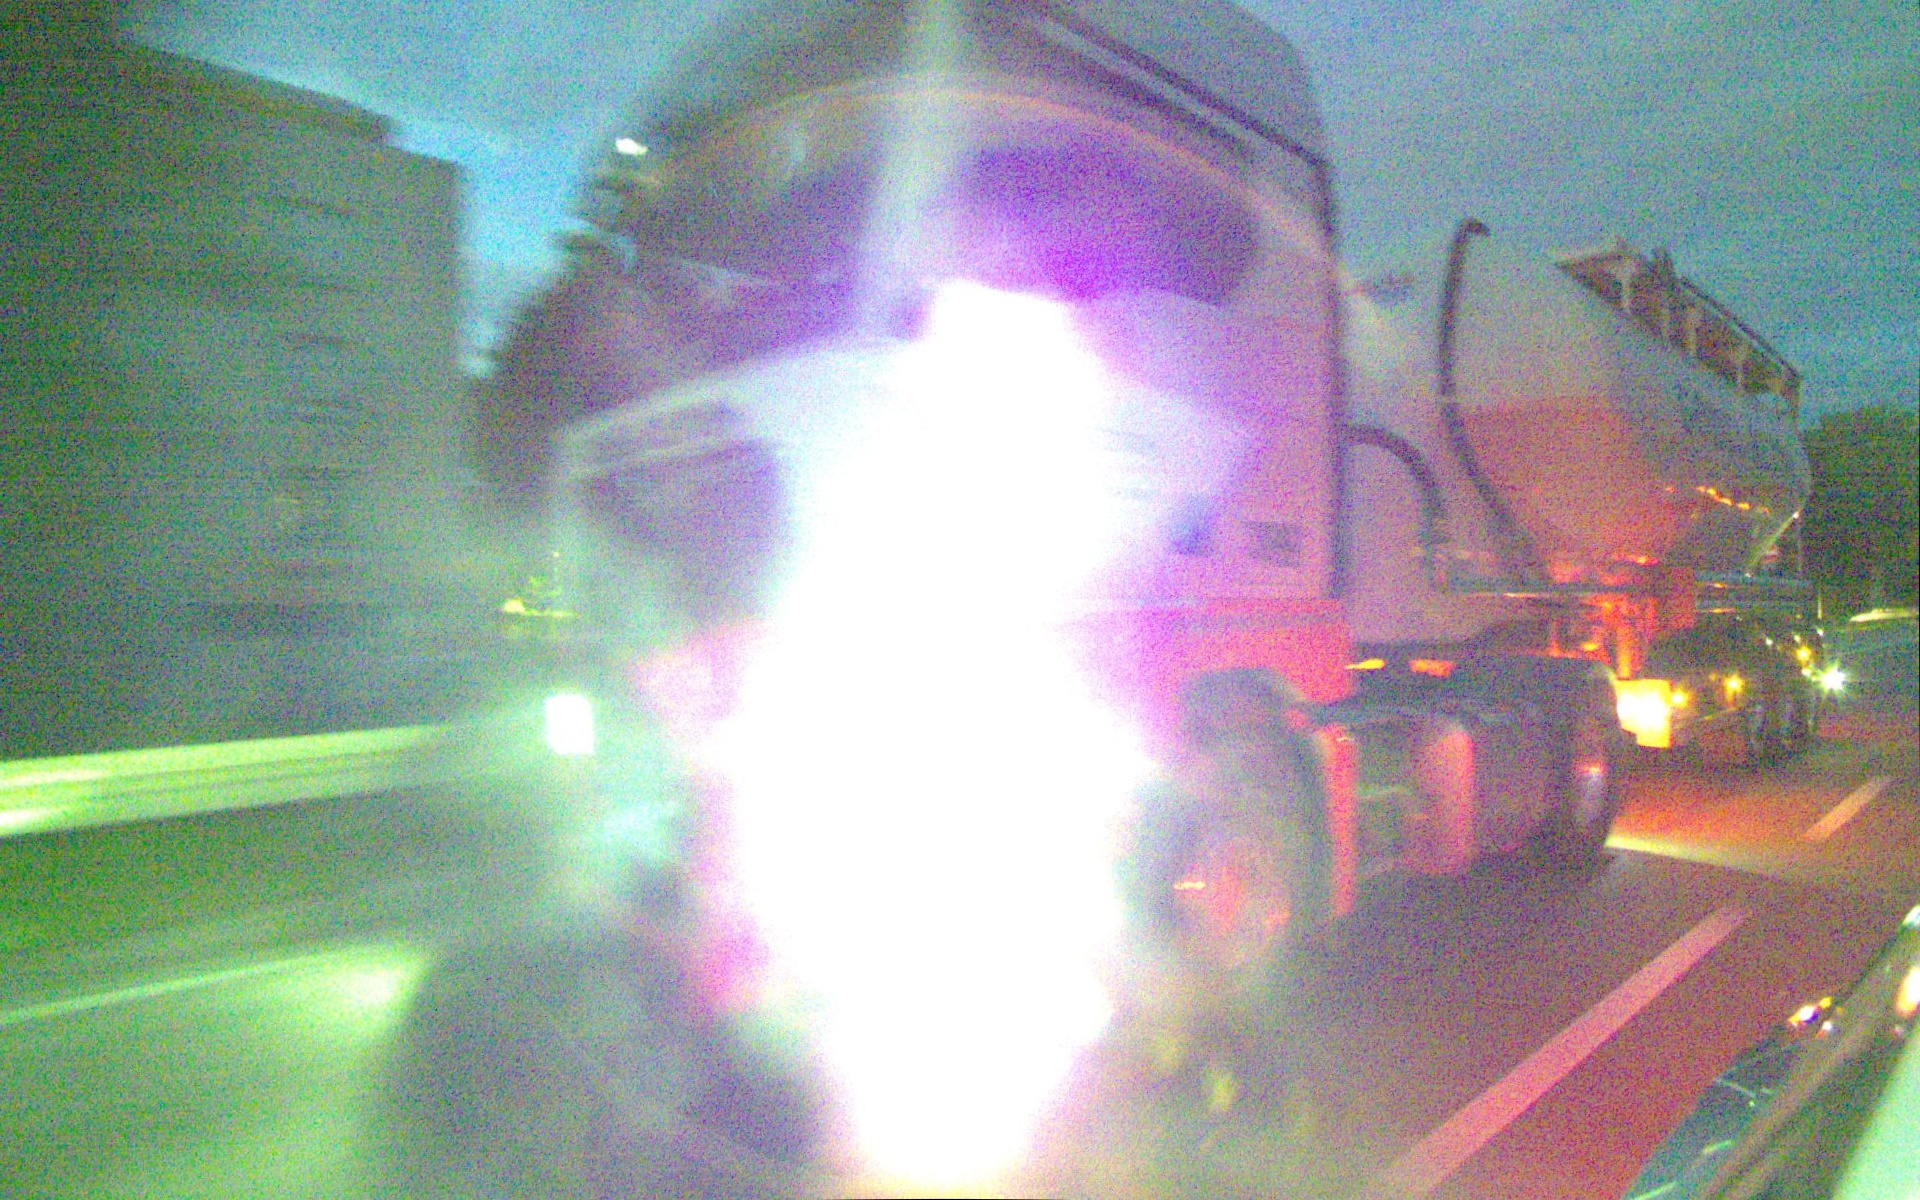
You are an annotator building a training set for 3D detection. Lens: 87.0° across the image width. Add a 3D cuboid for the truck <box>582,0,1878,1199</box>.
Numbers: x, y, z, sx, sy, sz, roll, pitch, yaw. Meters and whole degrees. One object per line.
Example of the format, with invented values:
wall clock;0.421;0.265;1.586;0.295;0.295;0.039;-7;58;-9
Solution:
truck;4.094;-0.665;7.606;12.912;4.158;2.692;0;0;-41
